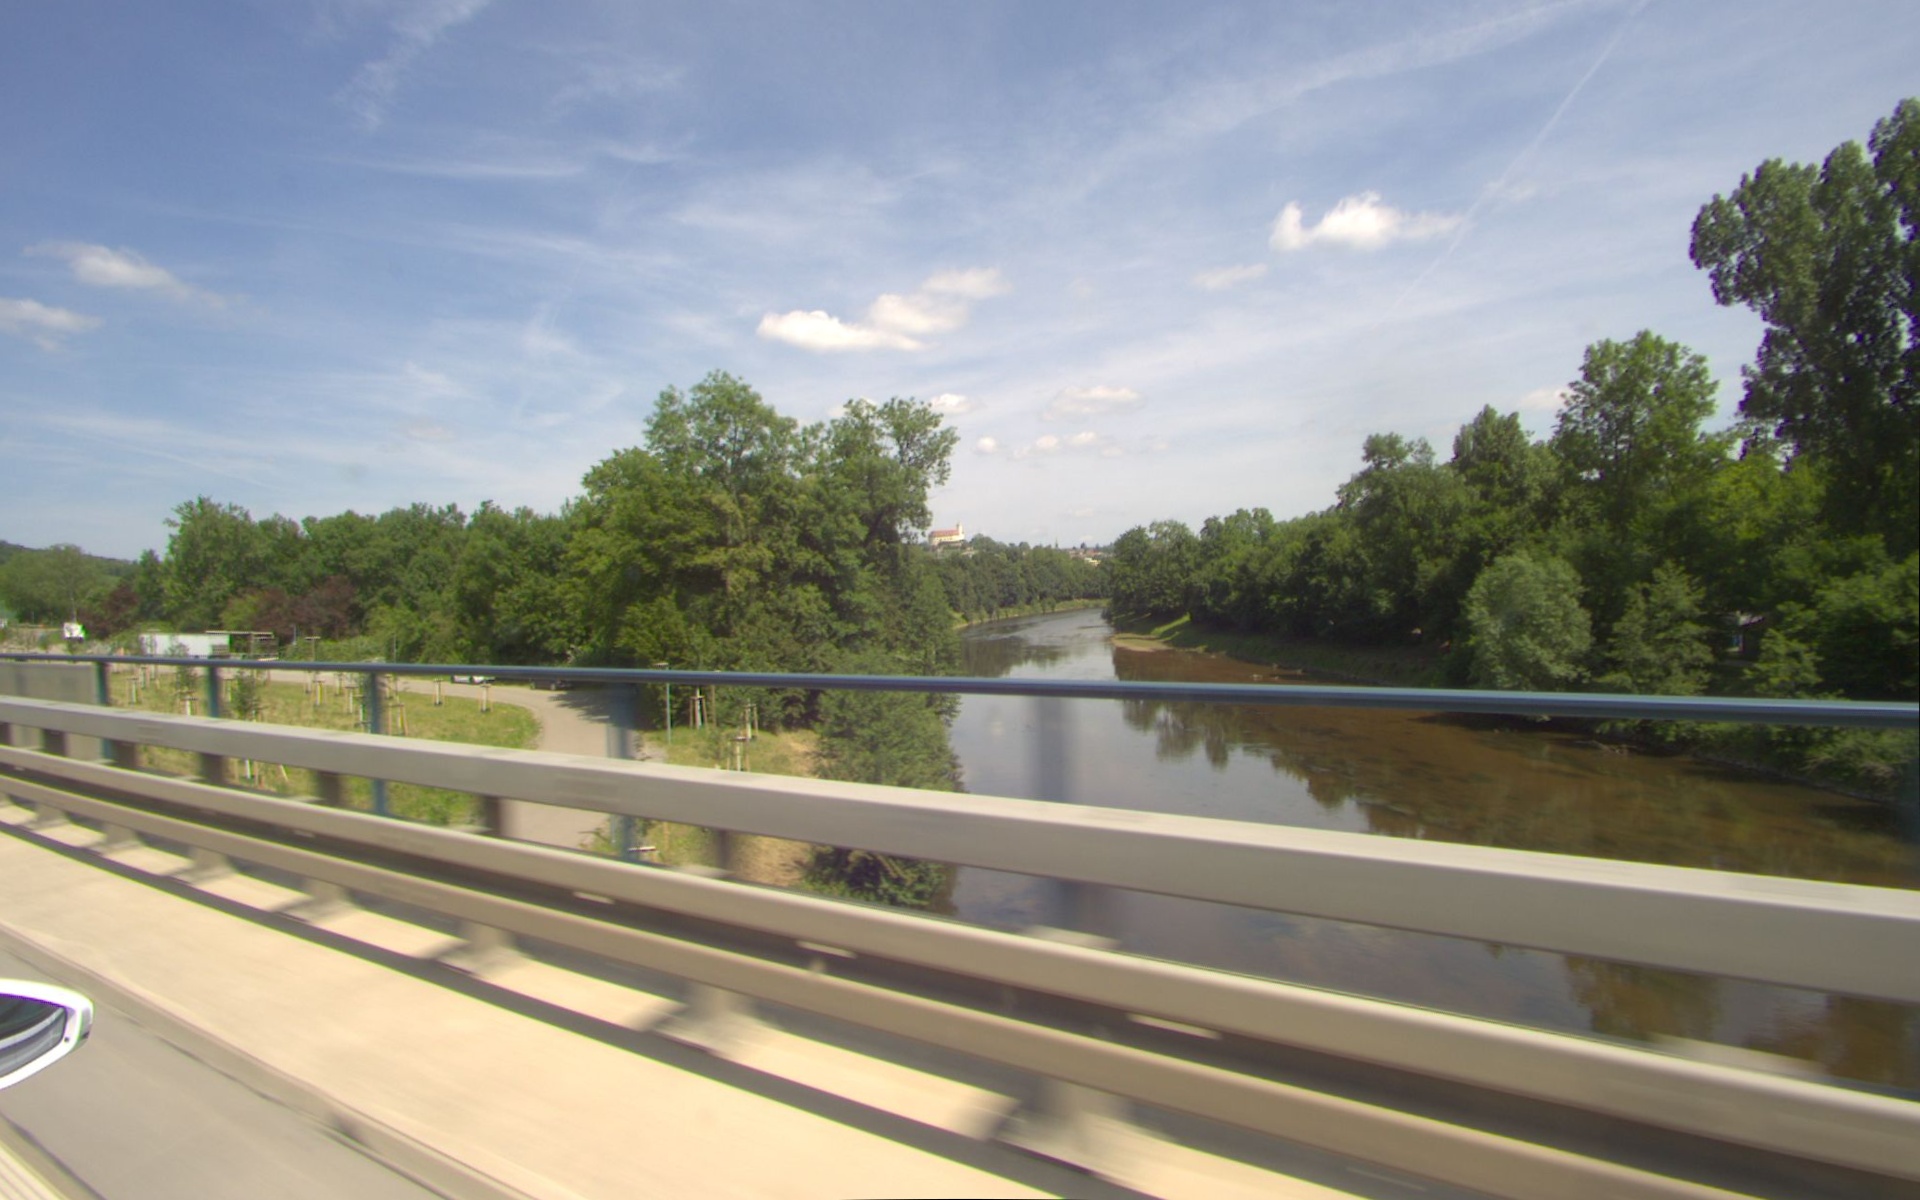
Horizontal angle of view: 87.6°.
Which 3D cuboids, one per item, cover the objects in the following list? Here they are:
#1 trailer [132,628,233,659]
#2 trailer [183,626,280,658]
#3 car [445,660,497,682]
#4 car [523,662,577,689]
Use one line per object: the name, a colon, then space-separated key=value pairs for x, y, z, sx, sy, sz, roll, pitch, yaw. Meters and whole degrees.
trailer: x=-91.017 y=5.021 z=117.243 sx=11.674 sy=3.371 sz=2.725 roll=0 pitch=0 yaw=14
trailer: x=-86.731 y=4.977 z=119.223 sx=11.678 sy=3.653 sz=2.725 roll=0 pitch=-1 yaw=16
car: x=-40.702 y=5.886 z=83.298 sx=4.544 sy=1.503 sz=1.852 roll=0 pitch=3 yaw=34
car: x=-31.533 y=5.765 z=76.969 sx=4.144 sy=1.706 sz=1.850 roll=1 pitch=4 yaw=36
